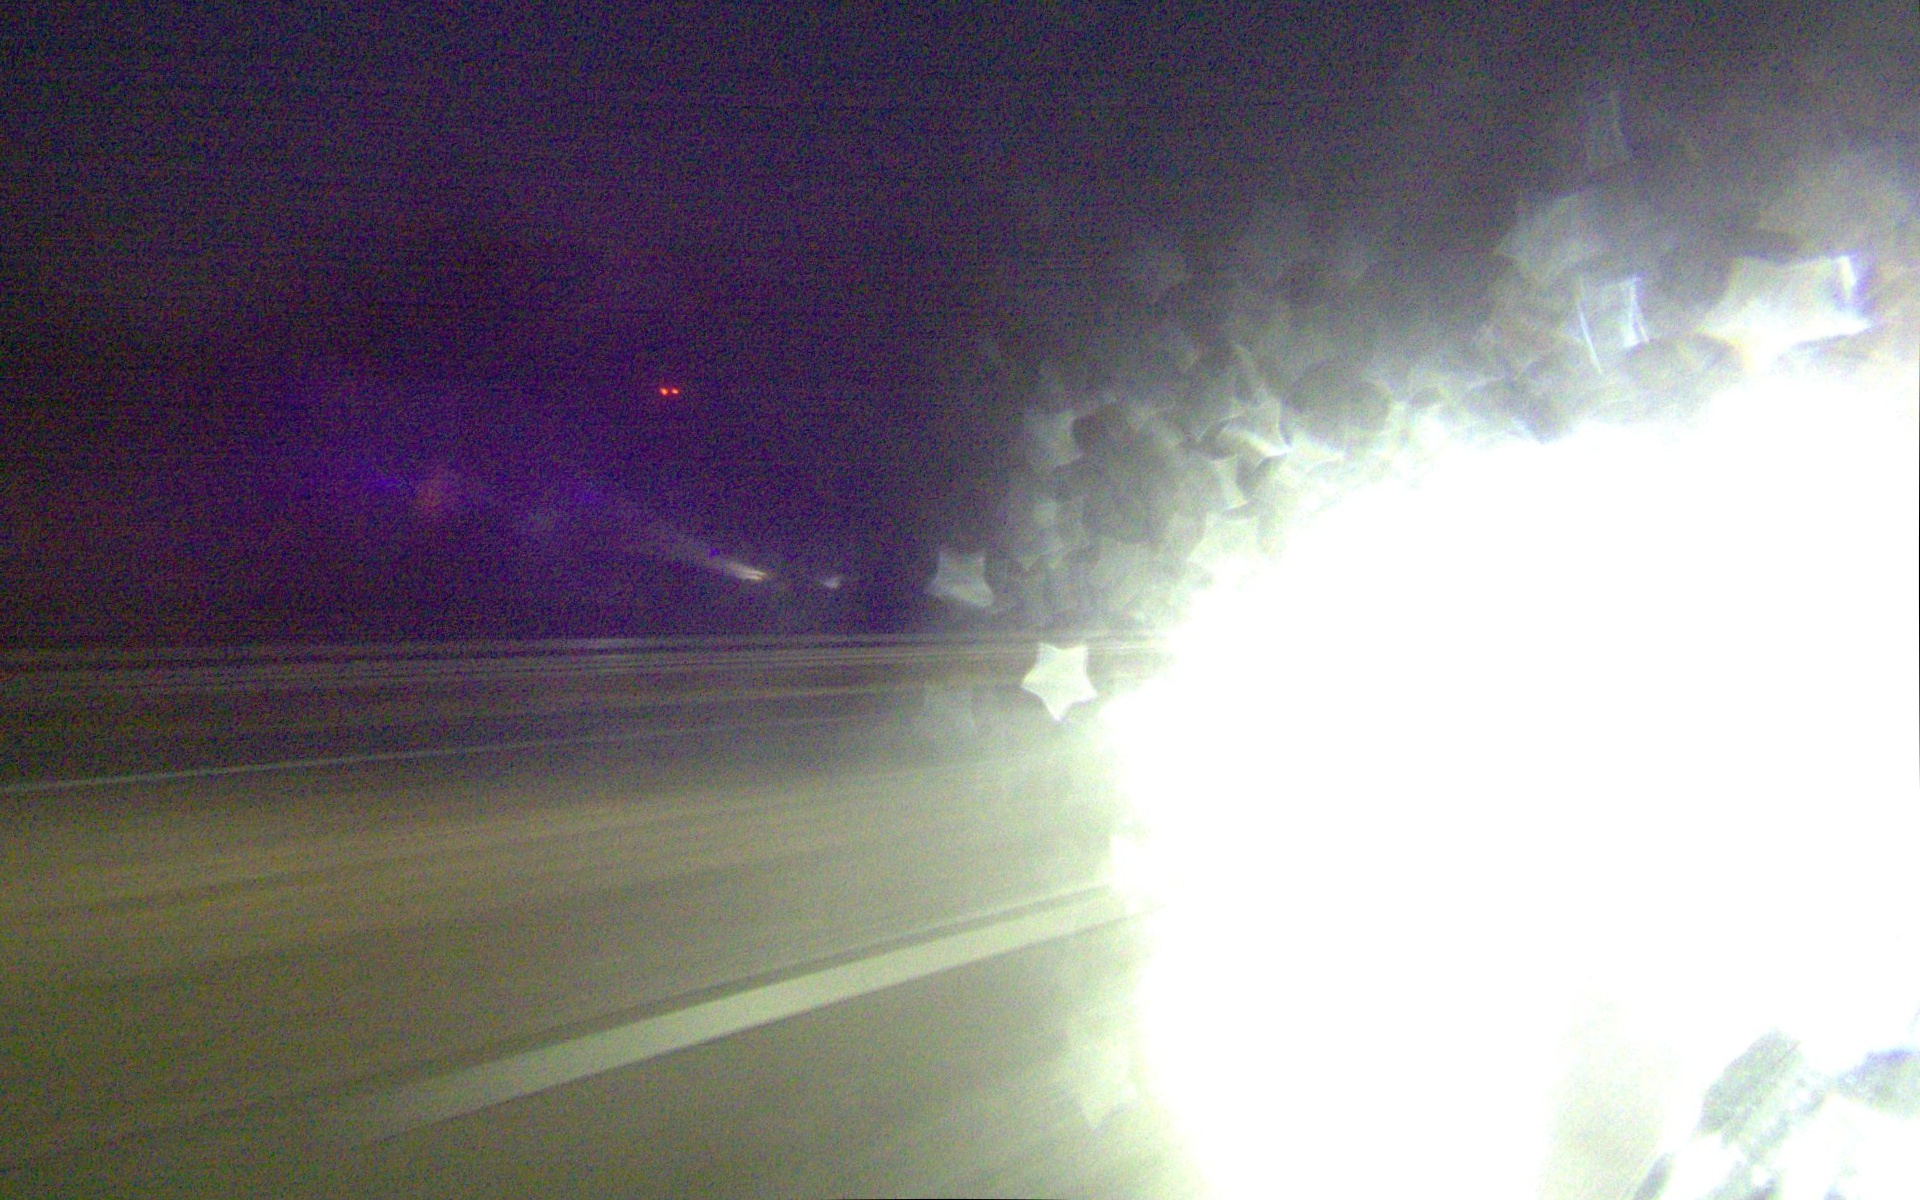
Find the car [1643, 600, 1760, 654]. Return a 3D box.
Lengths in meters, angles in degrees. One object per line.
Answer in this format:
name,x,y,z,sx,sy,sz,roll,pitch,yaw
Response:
car,21.889,0.769,29.822,3.969,1.516,1.724,1,-1,-37

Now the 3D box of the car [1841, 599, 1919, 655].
car,26.512,0.742,28.260,4.254,1.467,1.999,1,-1,-36

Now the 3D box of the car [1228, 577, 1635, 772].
car,5.033,0.580,10.412,4.929,1.538,2.061,0,0,-42
